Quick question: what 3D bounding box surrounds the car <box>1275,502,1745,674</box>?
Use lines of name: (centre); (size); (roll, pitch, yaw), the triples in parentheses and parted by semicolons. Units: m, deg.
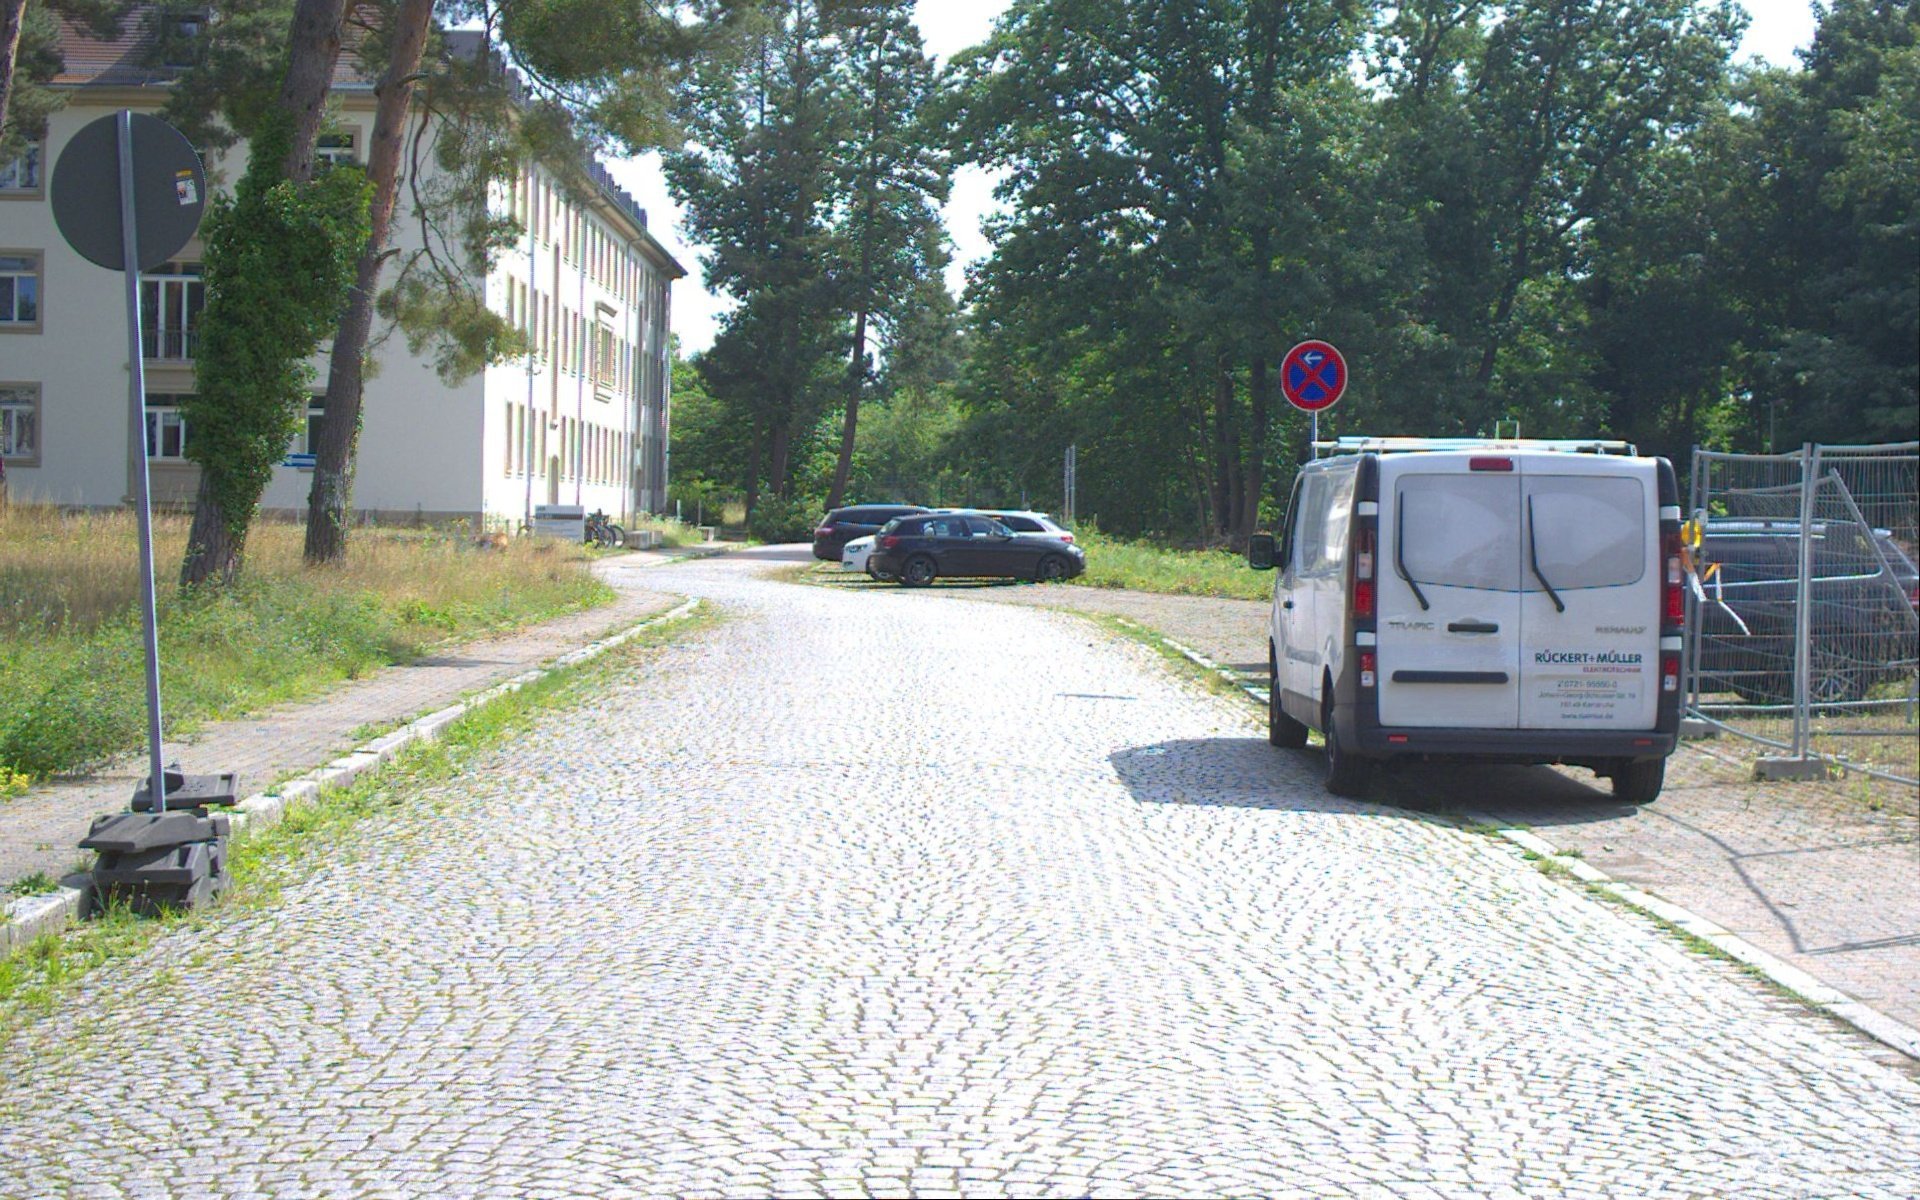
car: (5.010, -0.137, 31.654); (3.986, 1.501, 1.747); (-1, 2, -3)

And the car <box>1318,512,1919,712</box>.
car: (5.190, 0.066, 27.095); (4.453, 1.470, 1.746); (-1, 2, -5)

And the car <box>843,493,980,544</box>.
car: (-1.498, -2.536, 106.899); (4.187, 1.538, 1.820); (0, 1, 1)

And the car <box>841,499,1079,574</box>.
car: (-0.033, -1.330, 71.446); (4.861, 1.467, 1.875); (0, 3, -2)

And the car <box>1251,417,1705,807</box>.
car: (2.984, -0.011, 21.070); (1.914, 2.046, 5.679); (1, 2, 0)

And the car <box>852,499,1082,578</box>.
car: (0.127, -1.235, 68.240); (4.323, 1.495, 1.831); (-1, 3, -9)

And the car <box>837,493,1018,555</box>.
car: (-0.819, -1.859, 84.346); (4.398, 1.479, 1.766); (0, 1, -2)

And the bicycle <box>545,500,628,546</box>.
bicycle: (-10.399, -2.148, 95.810); (2.222, 1.256, 0.623); (1, 1, 2)

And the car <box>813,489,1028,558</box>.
car: (-0.928, -1.749, 78.781); (4.852, 1.547, 1.880); (0, 1, -2)

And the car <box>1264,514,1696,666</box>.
car: (5.203, -0.122, 34.722); (4.041, 1.459, 1.704); (-1, 2, -3)
